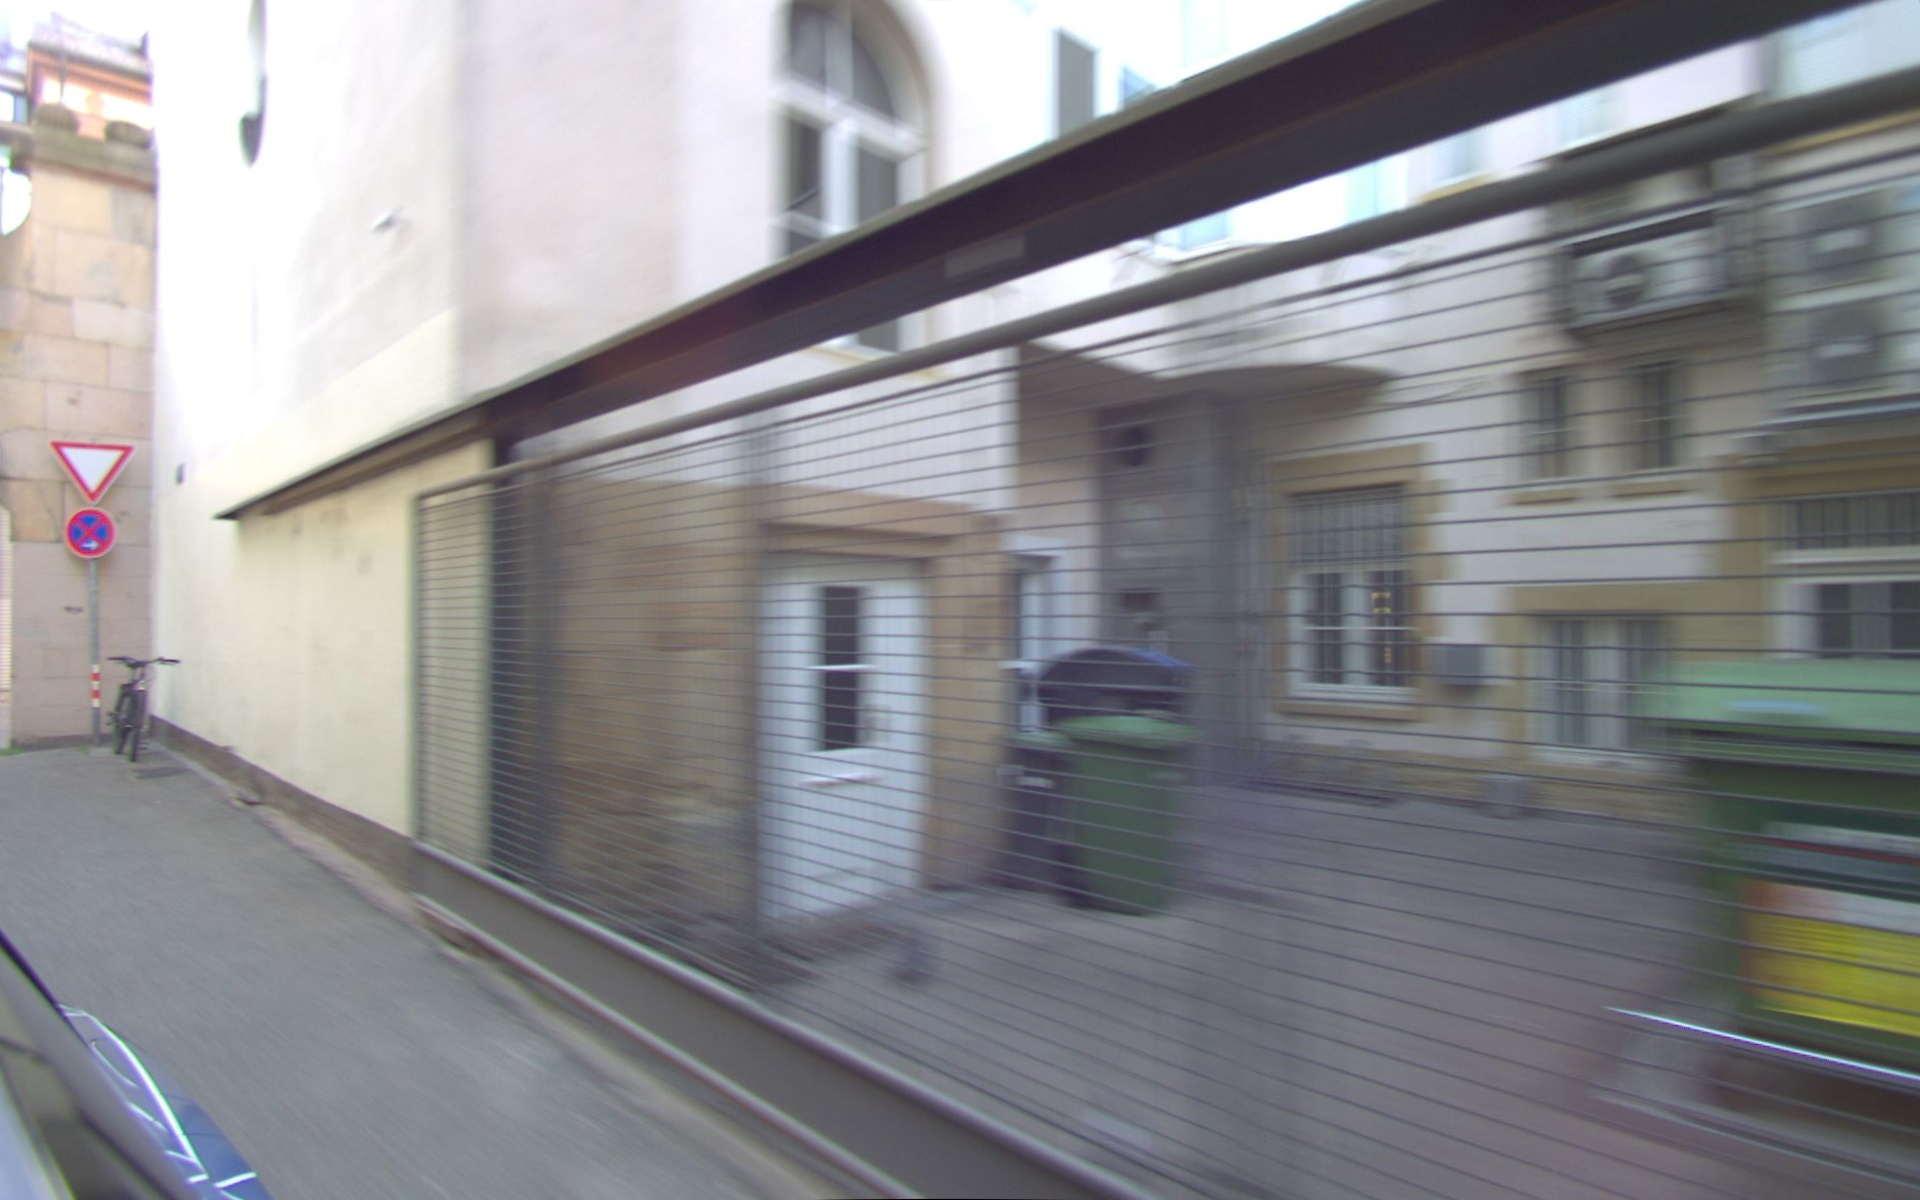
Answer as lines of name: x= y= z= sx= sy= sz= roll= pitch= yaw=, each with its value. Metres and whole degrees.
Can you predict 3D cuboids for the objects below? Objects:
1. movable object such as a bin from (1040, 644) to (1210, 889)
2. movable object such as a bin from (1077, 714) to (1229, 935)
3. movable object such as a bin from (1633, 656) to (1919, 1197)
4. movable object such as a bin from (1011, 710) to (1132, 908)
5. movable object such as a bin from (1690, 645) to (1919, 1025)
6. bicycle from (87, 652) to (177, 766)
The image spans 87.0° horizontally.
movable object such as a bin: x=1.116 y=1.067 z=6.960 sx=1.008 sy=1.462 sz=1.296 roll=-1 pitch=-1 yaw=9
movable object such as a bin: x=1.079 y=1.209 z=5.660 sx=0.608 sy=1.055 sz=0.587 roll=-2 pitch=-2 yaw=45
movable object such as a bin: x=3.159 y=0.926 z=3.095 sx=1.166 sy=1.435 sz=1.590 roll=1 pitch=-2 yaw=-43
movable object such as a bin: x=0.670 y=1.223 z=6.106 sx=0.525 sy=1.055 sz=0.501 roll=-2 pitch=-2 yaw=45
movable object such as a bin: x=4.151 y=0.931 z=4.234 sx=1.058 sy=1.435 sz=1.590 roll=1 pitch=-2 yaw=-43
bicycle: x=-8.910 y=1.127 z=10.871 sx=0.588 sy=1.087 sz=1.757 roll=1 pitch=-2 yaw=-44
